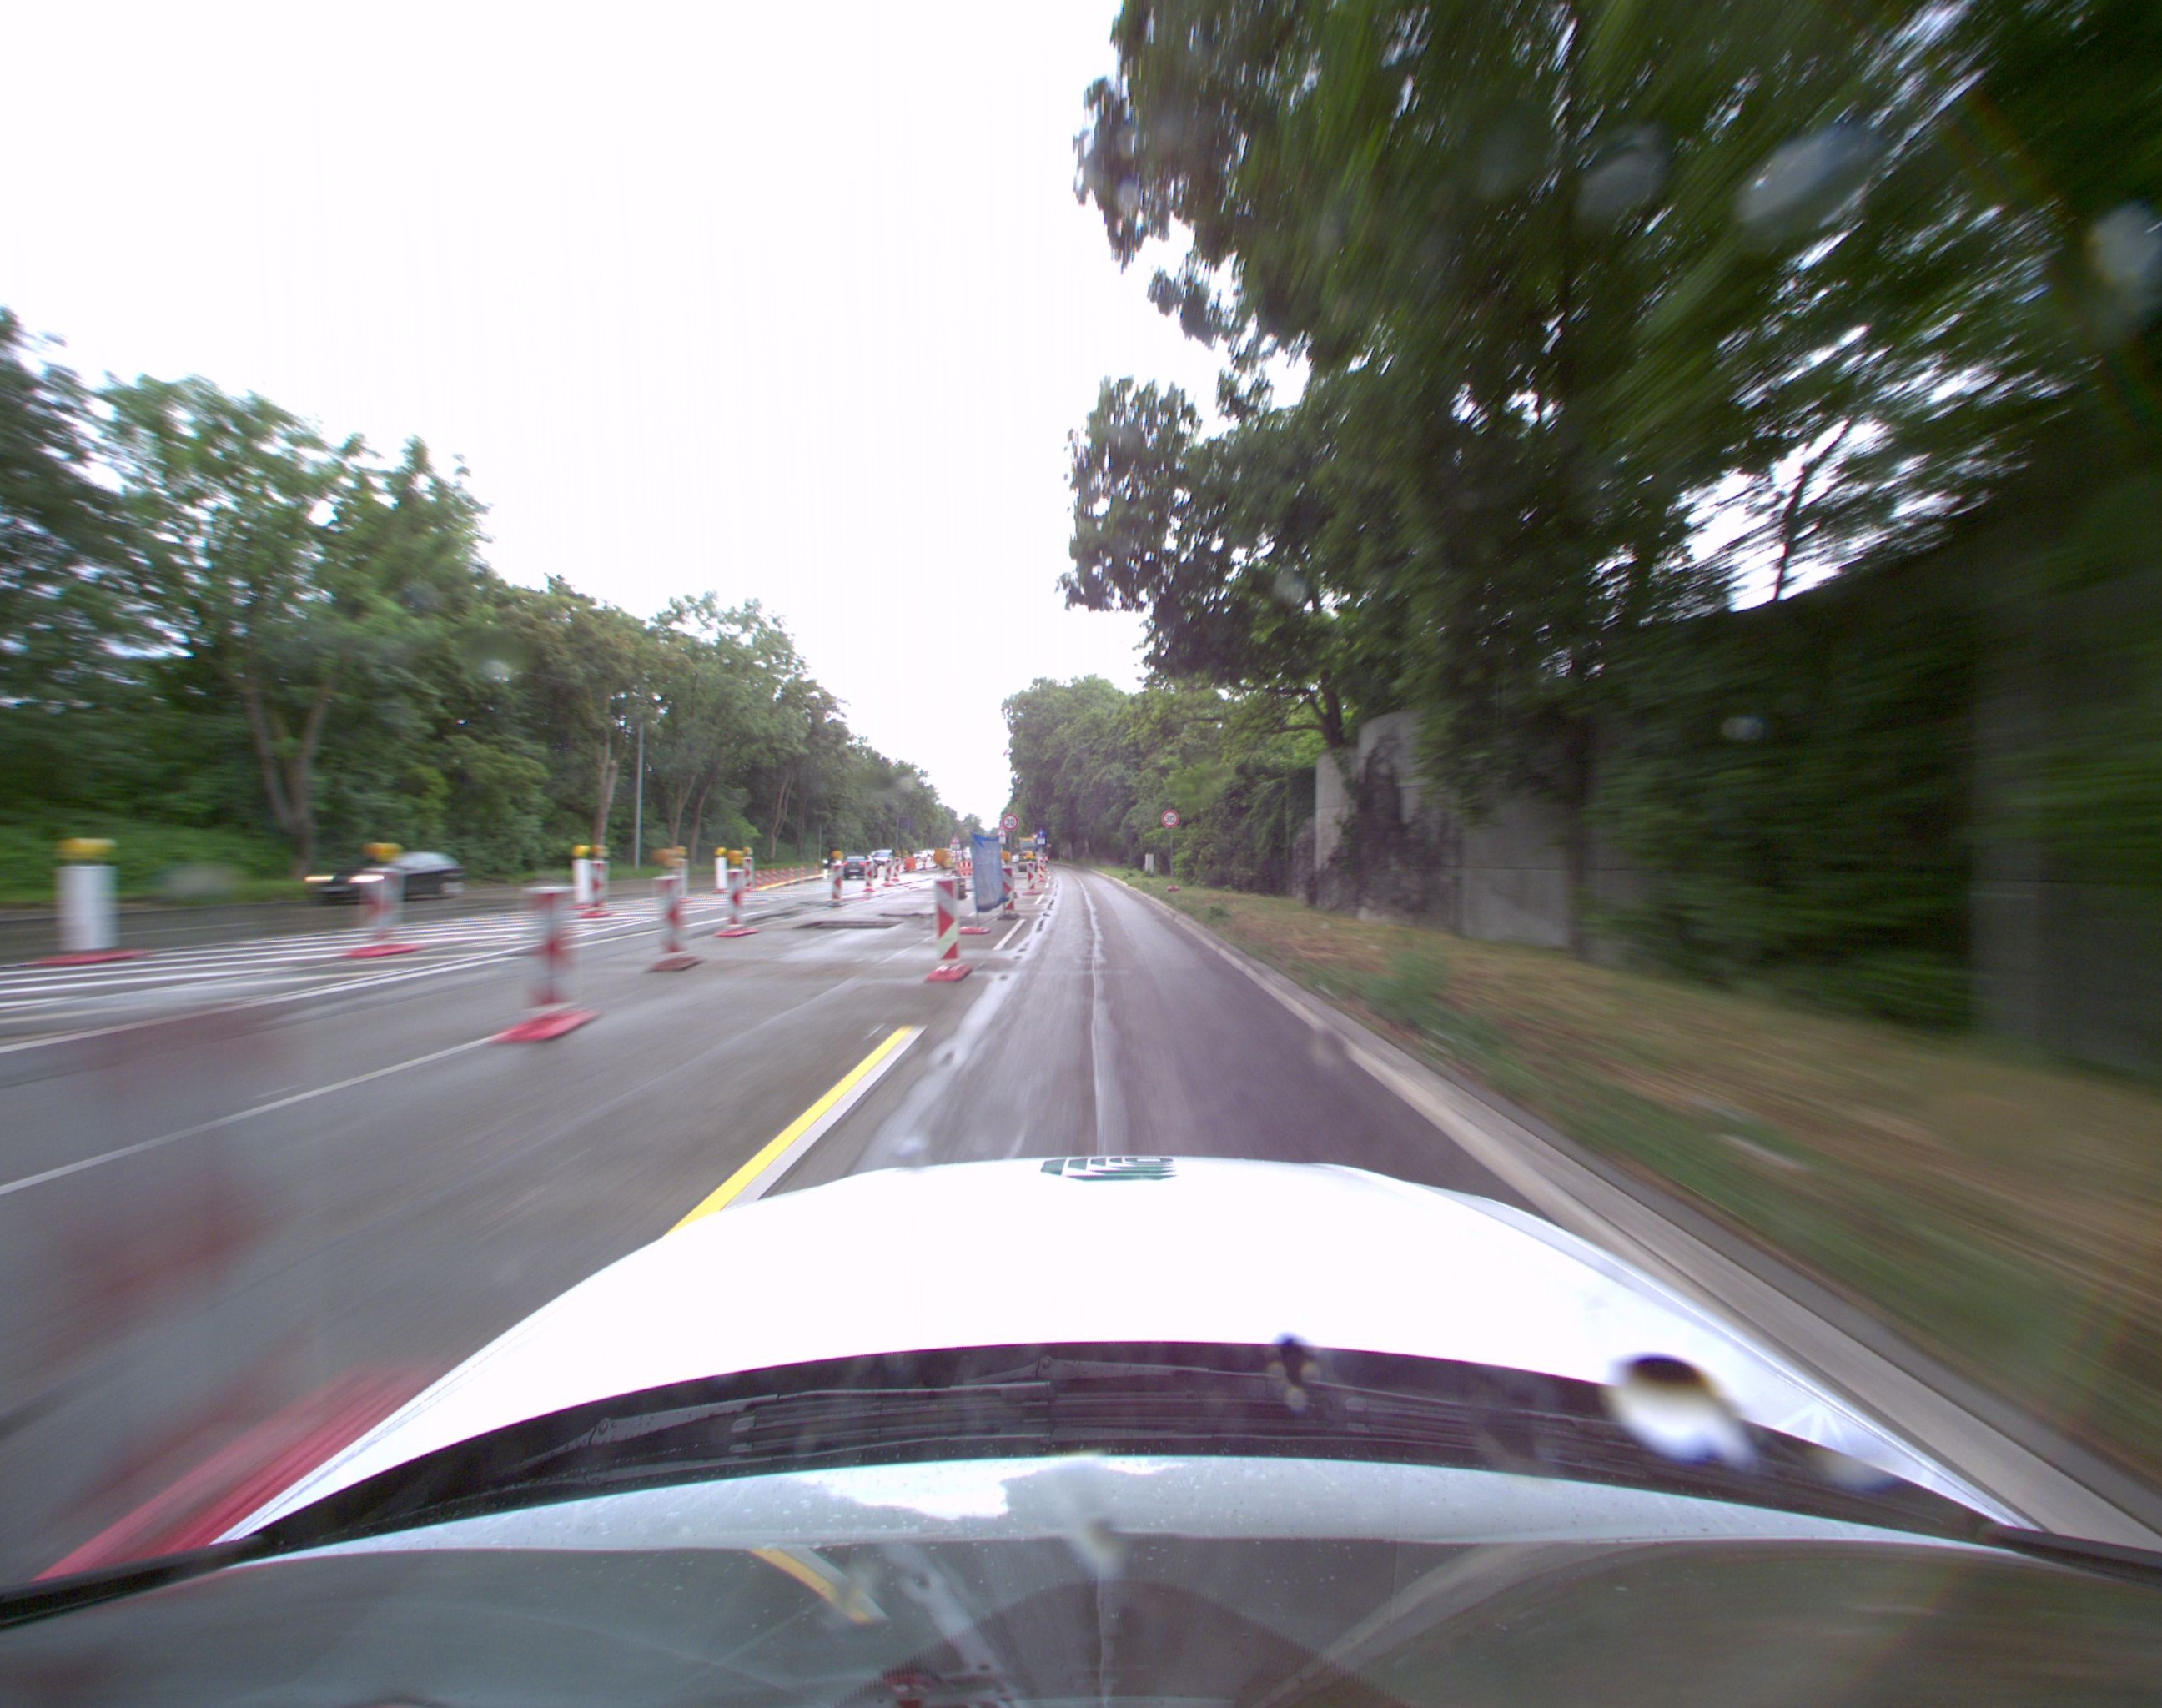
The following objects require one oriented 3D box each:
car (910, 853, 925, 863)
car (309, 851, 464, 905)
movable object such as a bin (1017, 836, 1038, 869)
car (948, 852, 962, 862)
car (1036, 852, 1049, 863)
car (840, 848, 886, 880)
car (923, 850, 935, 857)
[{"bbox_3d":[-30.021,0.718,149.626,1.922,1.665,4.650,0,0,-1],"label":"car"},{"bbox_3d":[-20.482,0.657,24.215,1.520,1.457,3.540,-1,0,1],"label":"car"},{"bbox_3d":[-4.687,-0.110,71.915,1.742,2.867,3.531,0,0,-2],"label":"movable object such as a bin"},{"bbox_3d":[-23.344,0.482,151.037,1.922,1.778,4.650,0,0,-1],"label":"car"},{"bbox_3d":[-6.070,0.583,128.011,1.908,1.598,4.832,1,1,-1],"label":"car"},{"bbox_3d":[-12.002,0.513,45.070,1.860,1.491,3.992,1,2,-6],"label":"car"},{"bbox_3d":[-37.050,-0.130,198.565,1.922,1.665,4.650,0,0,-1],"label":"car"}]
